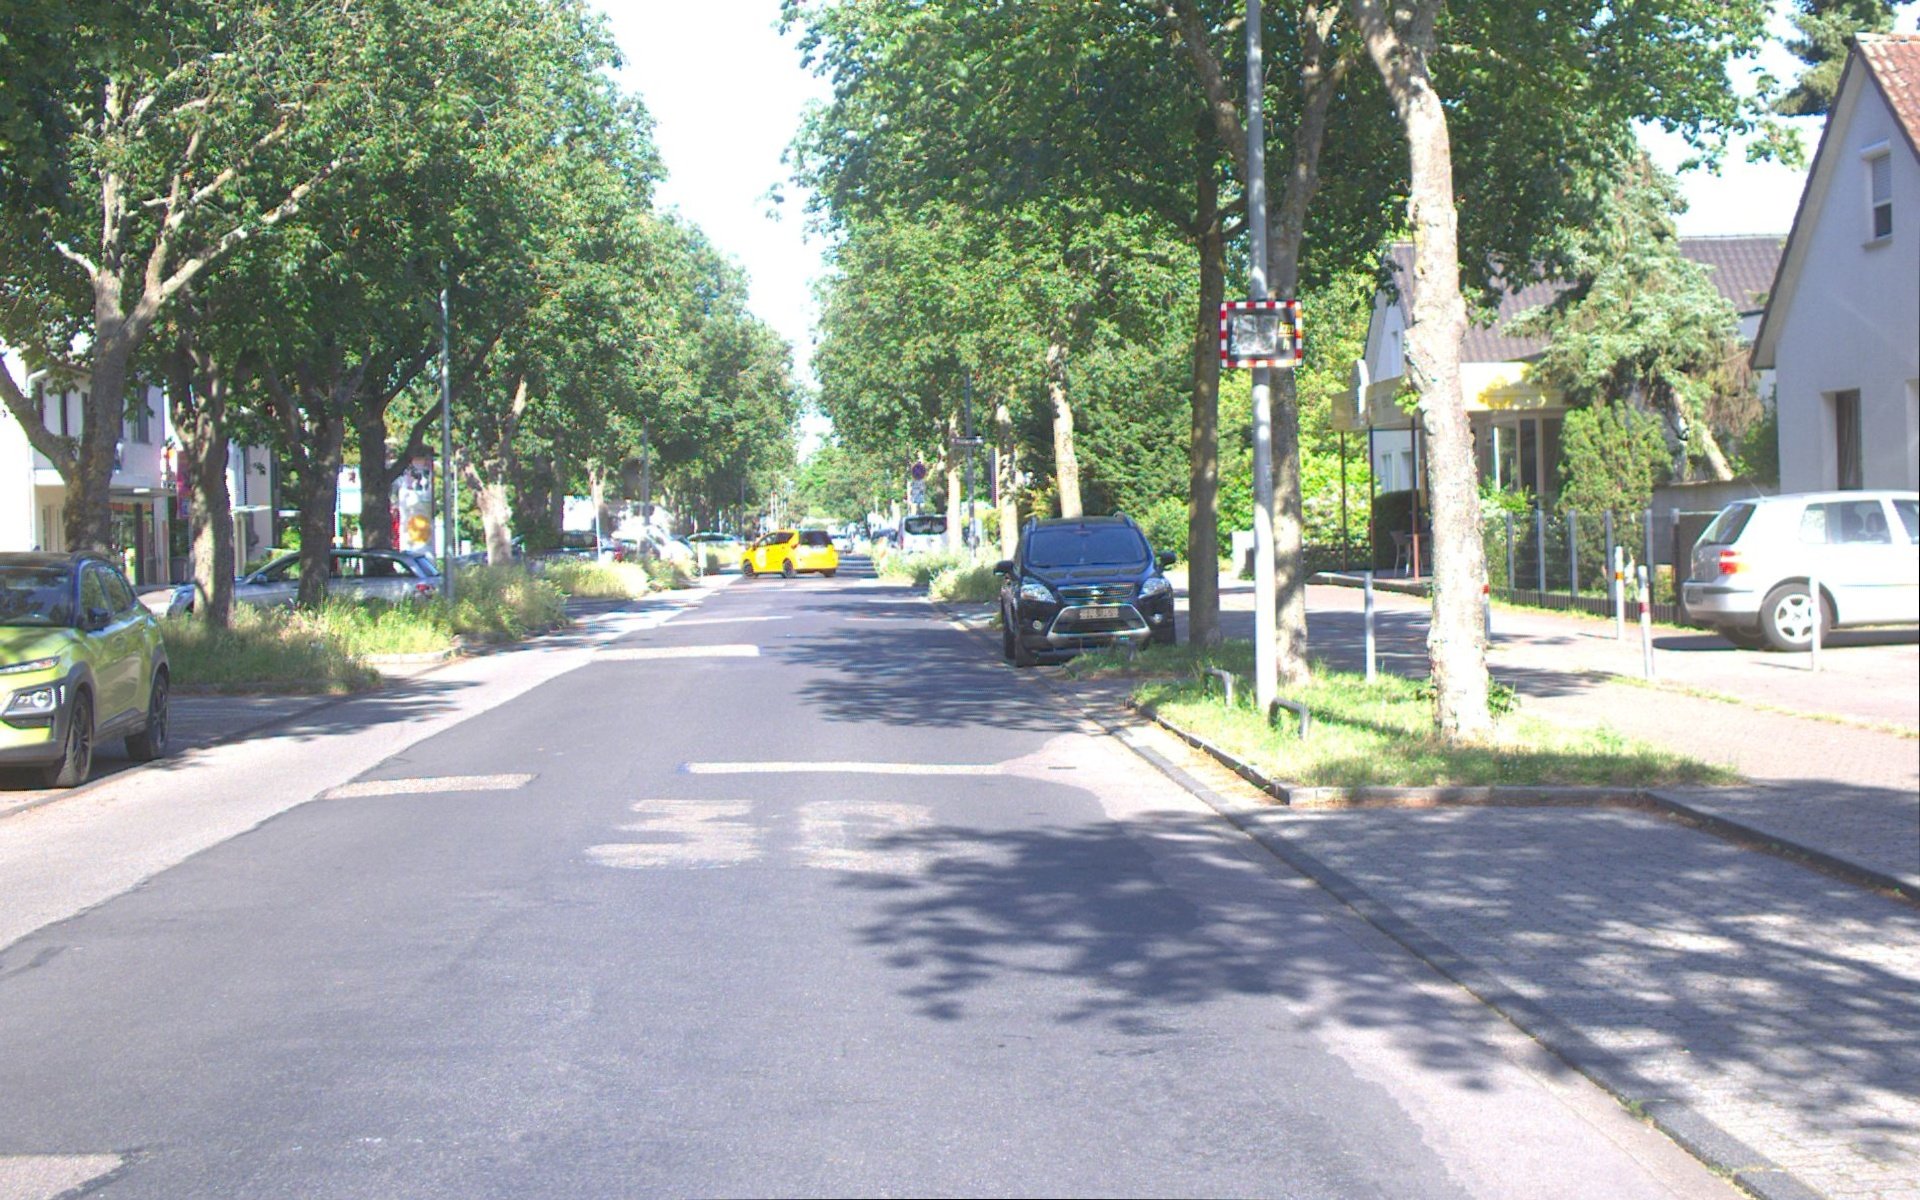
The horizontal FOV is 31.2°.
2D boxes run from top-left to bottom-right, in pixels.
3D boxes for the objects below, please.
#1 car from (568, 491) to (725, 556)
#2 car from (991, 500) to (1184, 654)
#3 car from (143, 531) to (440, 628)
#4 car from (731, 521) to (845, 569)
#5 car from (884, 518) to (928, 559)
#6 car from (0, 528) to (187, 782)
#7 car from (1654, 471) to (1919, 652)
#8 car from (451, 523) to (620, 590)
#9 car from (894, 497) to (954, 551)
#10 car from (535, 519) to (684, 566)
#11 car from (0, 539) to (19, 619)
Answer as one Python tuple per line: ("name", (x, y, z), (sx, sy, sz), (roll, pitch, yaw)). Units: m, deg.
("car", (-11.086, -2.719, 121.926), (5.497, 2.239, 2.517), (0, 3, -3))
("car", (1.433, -0.285, 40.220), (1.853, 1.620, 4.470), (-3, 1, -2))
("car", (-10.922, -0.348, 56.390), (4.554, 1.506, 1.841), (0, 3, -2))
("car", (-5.582, -1.785, 111.023), (1.888, 1.474, 3.888), (0, 1, -35))
("car", (-2.393, -2.704, 151.195), (1.902, 1.768, 4.301), (0, 1, -2))
("car", (-6.791, 0.325, 23.864), (1.939, 1.603, 4.384), (0, 0, -1))
("car", (8.745, -0.422, 32.205), (3.986, 1.483, 1.902), (-3, 3, -3))
("car", (-11.575, -1.192, 93.858), (4.545, 1.759, 2.001), (0, 3, -6))
("car", (-1.204, -2.496, 113.259), (1.902, 1.768, 4.301), (0, 1, -2))
("car", (-10.250, -1.680, 100.458), (4.286, 1.310, 1.910), (0, 3, -6))
("car", (-22.446, -0.461, 72.827), (4.553, 1.612, 2.001), (0, 3, -6))
